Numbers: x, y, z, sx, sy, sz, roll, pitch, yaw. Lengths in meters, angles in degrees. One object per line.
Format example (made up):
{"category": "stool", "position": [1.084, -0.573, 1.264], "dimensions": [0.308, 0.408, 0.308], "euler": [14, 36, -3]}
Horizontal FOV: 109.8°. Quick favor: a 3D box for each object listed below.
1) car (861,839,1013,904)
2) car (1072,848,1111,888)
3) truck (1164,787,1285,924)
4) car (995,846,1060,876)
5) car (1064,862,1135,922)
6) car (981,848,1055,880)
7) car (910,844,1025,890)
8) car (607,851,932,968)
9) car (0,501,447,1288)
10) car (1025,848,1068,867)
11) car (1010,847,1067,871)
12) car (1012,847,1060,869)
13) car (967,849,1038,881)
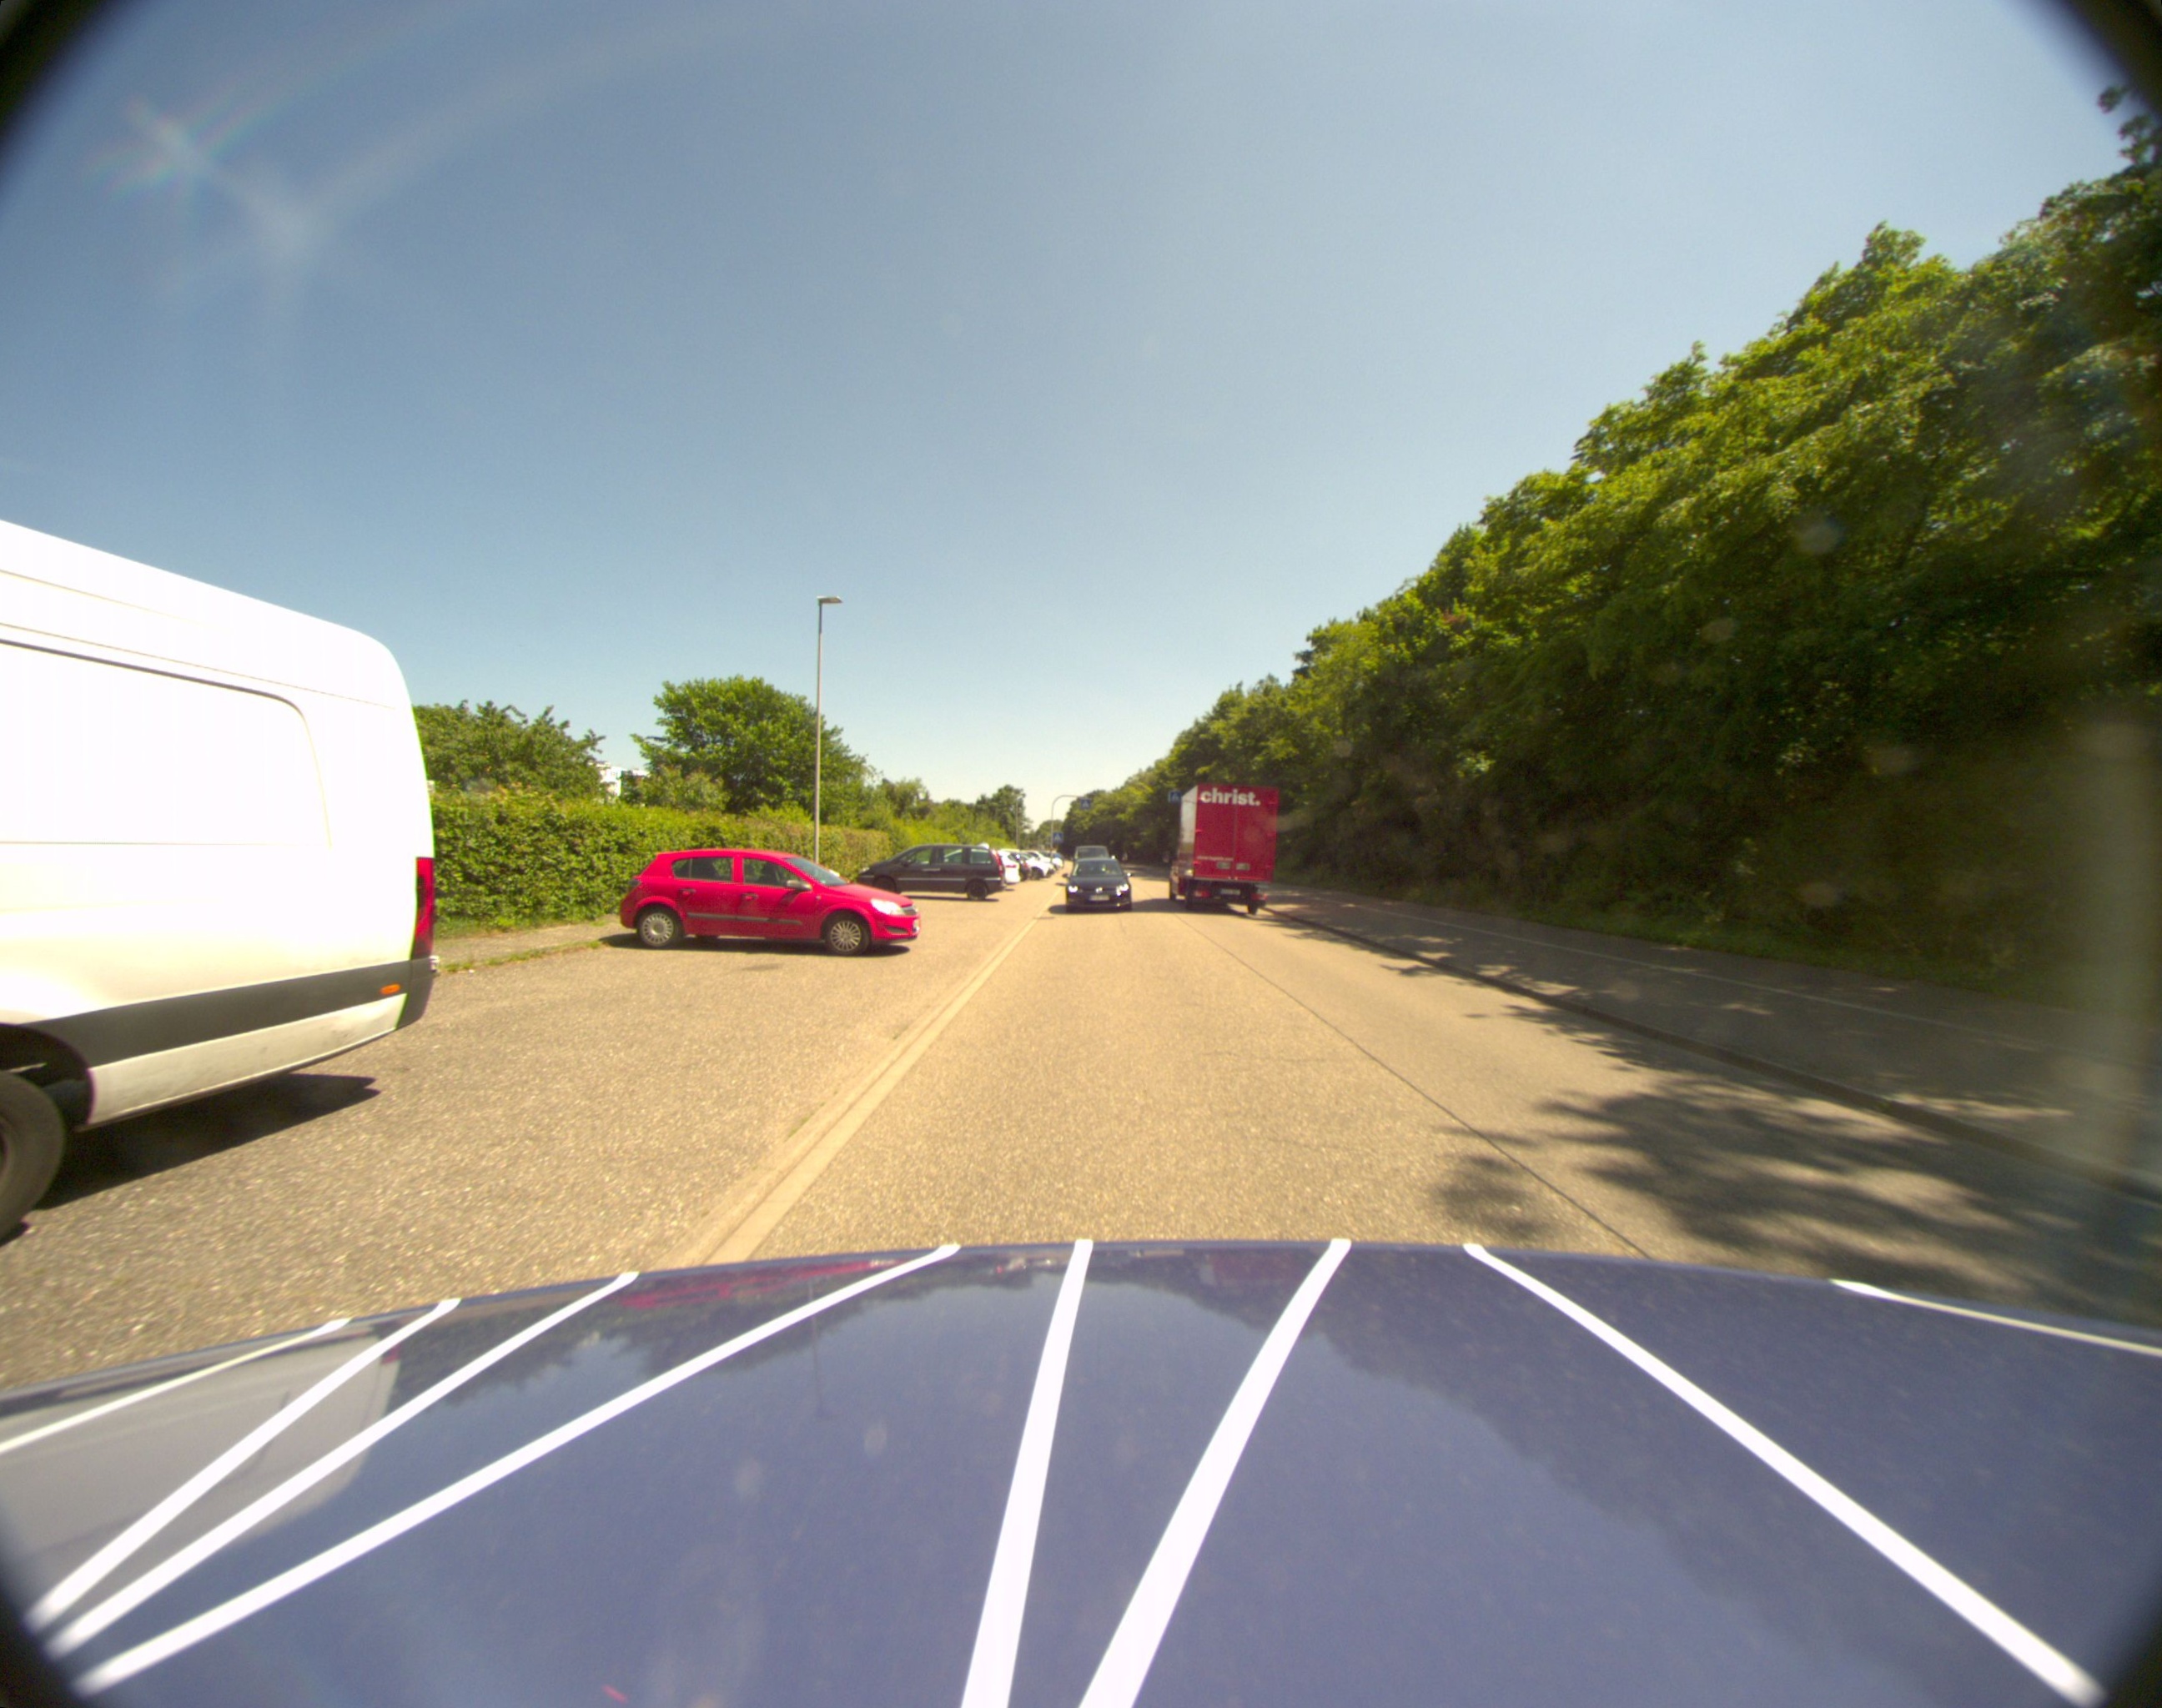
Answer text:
{"category": "car", "position": [-4.502, 0.538, 24.277], "dimensions": [4.465, 1.794, 1.951], "euler": [3, 1, -4]}
{"category": "car", "position": [0.479, 0.651, 38.108], "dimensions": [1.743, 1.905, 4.387], "euler": [-1, 0, -1]}
{"category": "truck", "position": [4.094, 0.030, 23.165], "dimensions": [2.328, 3.420, 7.161], "euler": [3, 0, 2]}
{"category": "car", "position": [-3.421, 0.468, 48.723], "dimensions": [3.971, 1.631, 1.663], "euler": [4, 0, -4]}
{"category": "car", "position": [0.412, 0.947, 20.934], "dimensions": [1.743, 1.396, 4.387], "euler": [-1, 0, -1]}
{"category": "car", "position": [-3.517, 0.541, 42.821], "dimensions": [3.974, 1.514, 1.863], "euler": [4, 0, -5]}
{"category": "car", "position": [-4.475, 0.507, 30.424], "dimensions": [4.287, 1.569, 1.765], "euler": [3, 0, -1]}
{"category": "car", "position": [-4.465, 0.776, 11.412], "dimensions": [4.065, 1.426, 1.835], "euler": [3, 0, -2]}
{"category": "car", "position": [-4.755, 0.112, 0.768], "dimensions": [1.959, 2.717, 7.168], "euler": [3, 0, 2]}
{"category": "car", "position": [-3.380, 0.374, 74.349], "dimensions": [4.036, 1.632, 1.673], "euler": [3, 1, 0]}
{"category": "car", "position": [-3.413, 0.374, 61.821], "dimensions": [4.464, 1.720, 1.851], "euler": [2, 1, 1]}
{"category": "car", "position": [-3.804, 0.316, 64.565], "dimensions": [3.983, 1.676, 1.766], "euler": [2, 1, 0]}
{"category": "car", "position": [-4.094, 0.557, 39.885], "dimensions": [3.395, 1.495, 1.588], "euler": [2, 0, 4]}
